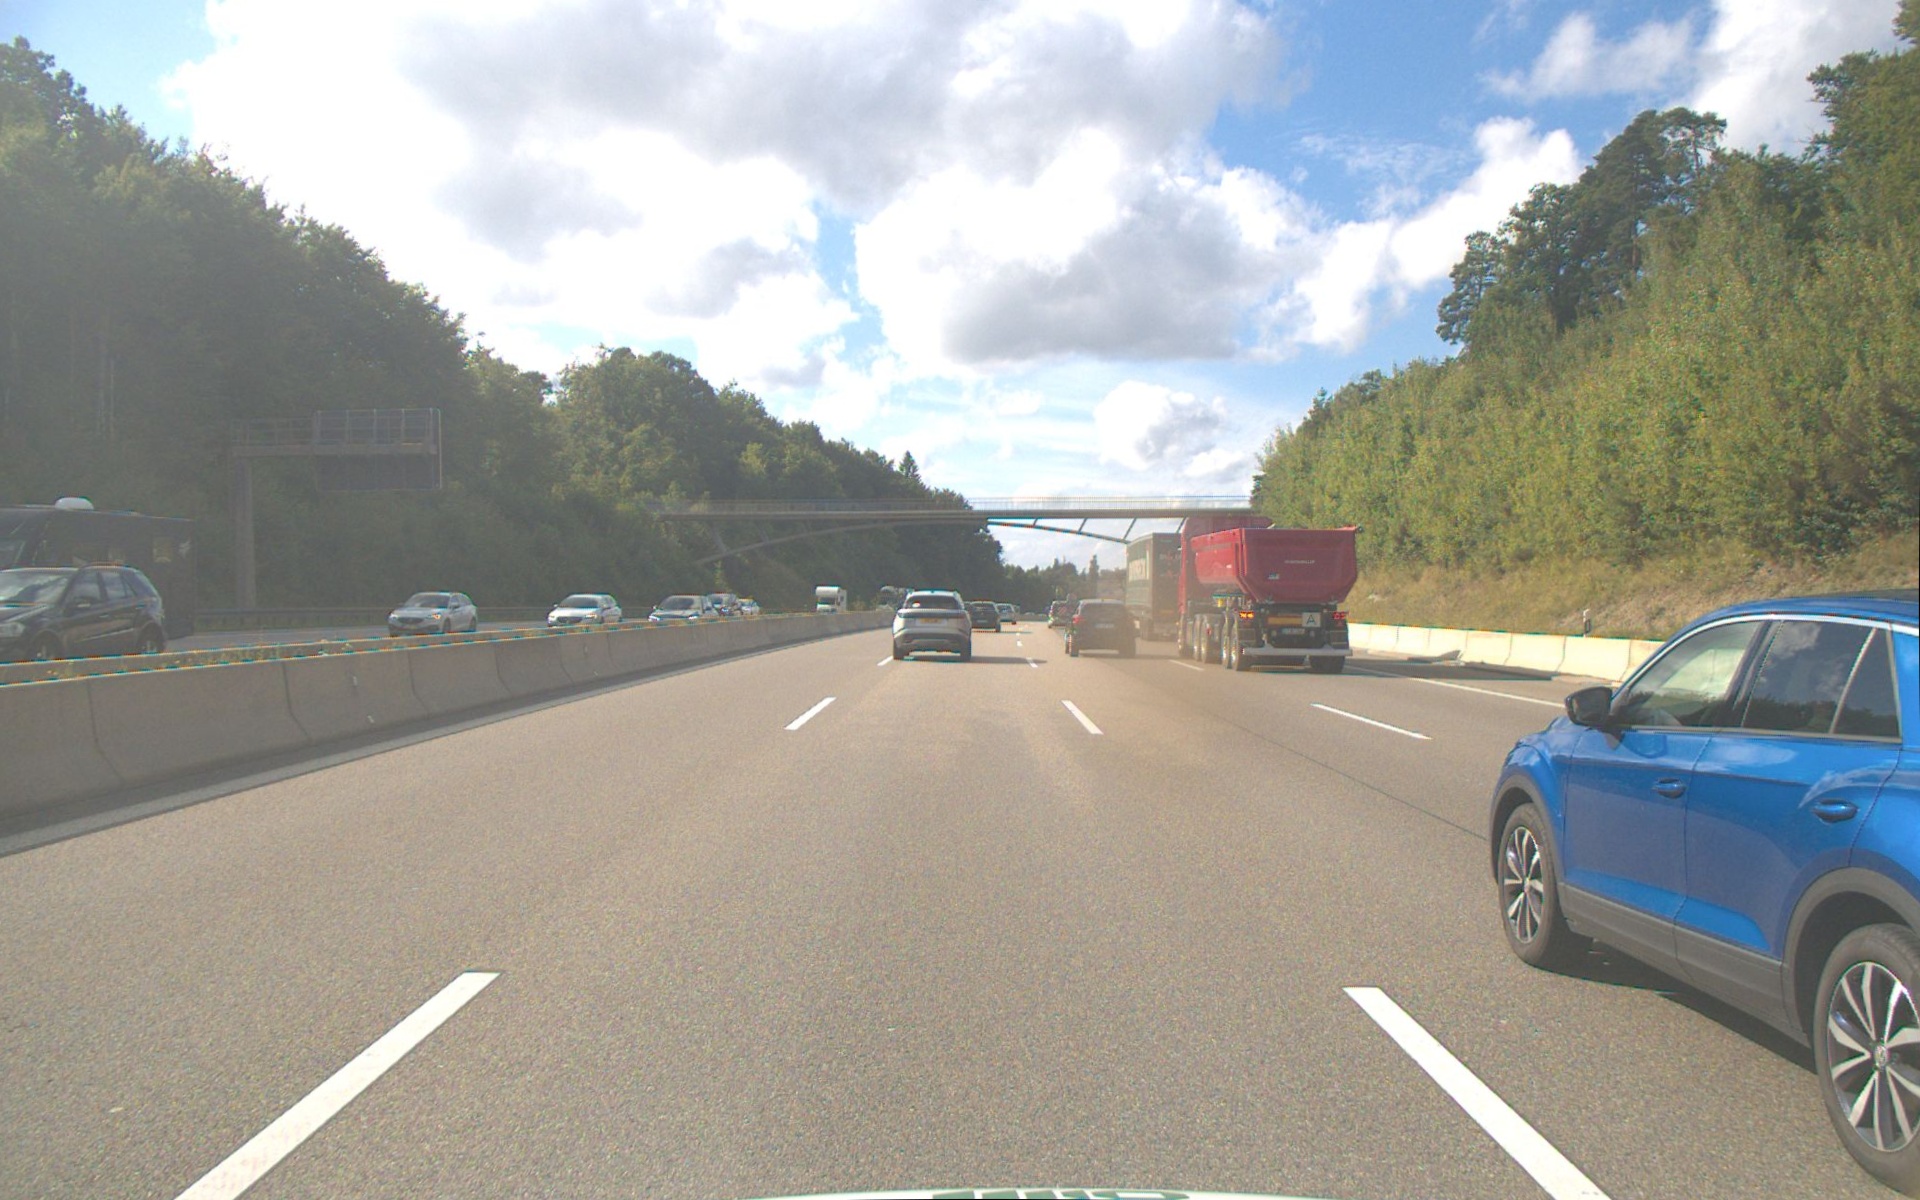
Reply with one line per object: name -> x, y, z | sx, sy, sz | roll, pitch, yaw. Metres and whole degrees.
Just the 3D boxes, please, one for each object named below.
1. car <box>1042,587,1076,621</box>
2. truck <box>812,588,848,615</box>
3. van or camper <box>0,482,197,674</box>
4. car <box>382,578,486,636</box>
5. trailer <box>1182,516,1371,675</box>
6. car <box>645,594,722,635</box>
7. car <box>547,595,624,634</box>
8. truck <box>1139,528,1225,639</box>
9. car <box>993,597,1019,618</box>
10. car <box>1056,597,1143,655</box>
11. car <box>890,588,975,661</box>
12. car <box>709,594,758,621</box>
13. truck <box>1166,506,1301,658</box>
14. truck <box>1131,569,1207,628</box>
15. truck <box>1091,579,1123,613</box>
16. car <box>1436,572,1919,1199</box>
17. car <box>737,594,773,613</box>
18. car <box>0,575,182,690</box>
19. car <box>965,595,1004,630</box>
car -> 5.713, 0.217, 95.816 | 1.854, 1.889, 4.101 | 1, 0, 2
truck -> -13.454, 0.180, 171.684 | 2.806, 2.726, 7.010 | 1, 0, 3
van or camper -> -17.237, -0.393, 31.024 | 2.507, 3.180, 7.332 | 1, 0, -1
car -> -16.721, 0.210, 52.767 | 1.806, 1.774, 4.260 | 1, 0, 2
trailer -> 7.237, -0.109, 39.256 | 2.654, 3.288, 9.732 | 1, 0, 0
car -> -9.450, 0.481, 56.749 | 1.807, 1.319, 4.259 | 1, 0, 1
car -> -13.268, 0.480, 58.801 | 1.807, 1.319, 4.258 | 1, 0, -1
truck -> 8.705, -0.620, 65.296 | 3.052, 4.003, 10.419 | 1, 0, 7
car -> 3.318, 0.510, 119.601 | 1.784, 1.483, 4.001 | 1, 0, 1
car -> 3.742, 0.671, 44.875 | 1.786, 1.483, 3.997 | 1, 0, -3
car -> -0.613, 0.550, 41.491 | 1.965, 1.644, 5.301 | 1, 1, 1
car -> -11.783, 0.361, 86.150 | 1.806, 1.319, 4.260 | 1, 0, 2
truck -> 7.241, -0.460, 44.482 | 2.654, 3.784, 5.817 | 1, 0, 0
truck -> 10.332, -0.076, 82.622 | 2.656, 2.787, 8.052 | 1, 0, -1
truck -> 13.364, -0.383, 149.869 | 2.784, 2.976, 8.391 | 1, 0, 5
car -> 3.203, 0.688, 5.652 | 1.737, 1.556, 4.456 | -1, 1, -2
car -> -14.274, 0.224, 115.343 | 1.806, 1.319, 4.260 | 1, 0, 3
car -> -13.762, 0.426, 24.940 | 1.883, 1.567, 4.701 | 1, 0, -1
car -> 1.237, 0.595, 80.608 | 1.784, 1.573, 4.001 | 2, 0, 2
